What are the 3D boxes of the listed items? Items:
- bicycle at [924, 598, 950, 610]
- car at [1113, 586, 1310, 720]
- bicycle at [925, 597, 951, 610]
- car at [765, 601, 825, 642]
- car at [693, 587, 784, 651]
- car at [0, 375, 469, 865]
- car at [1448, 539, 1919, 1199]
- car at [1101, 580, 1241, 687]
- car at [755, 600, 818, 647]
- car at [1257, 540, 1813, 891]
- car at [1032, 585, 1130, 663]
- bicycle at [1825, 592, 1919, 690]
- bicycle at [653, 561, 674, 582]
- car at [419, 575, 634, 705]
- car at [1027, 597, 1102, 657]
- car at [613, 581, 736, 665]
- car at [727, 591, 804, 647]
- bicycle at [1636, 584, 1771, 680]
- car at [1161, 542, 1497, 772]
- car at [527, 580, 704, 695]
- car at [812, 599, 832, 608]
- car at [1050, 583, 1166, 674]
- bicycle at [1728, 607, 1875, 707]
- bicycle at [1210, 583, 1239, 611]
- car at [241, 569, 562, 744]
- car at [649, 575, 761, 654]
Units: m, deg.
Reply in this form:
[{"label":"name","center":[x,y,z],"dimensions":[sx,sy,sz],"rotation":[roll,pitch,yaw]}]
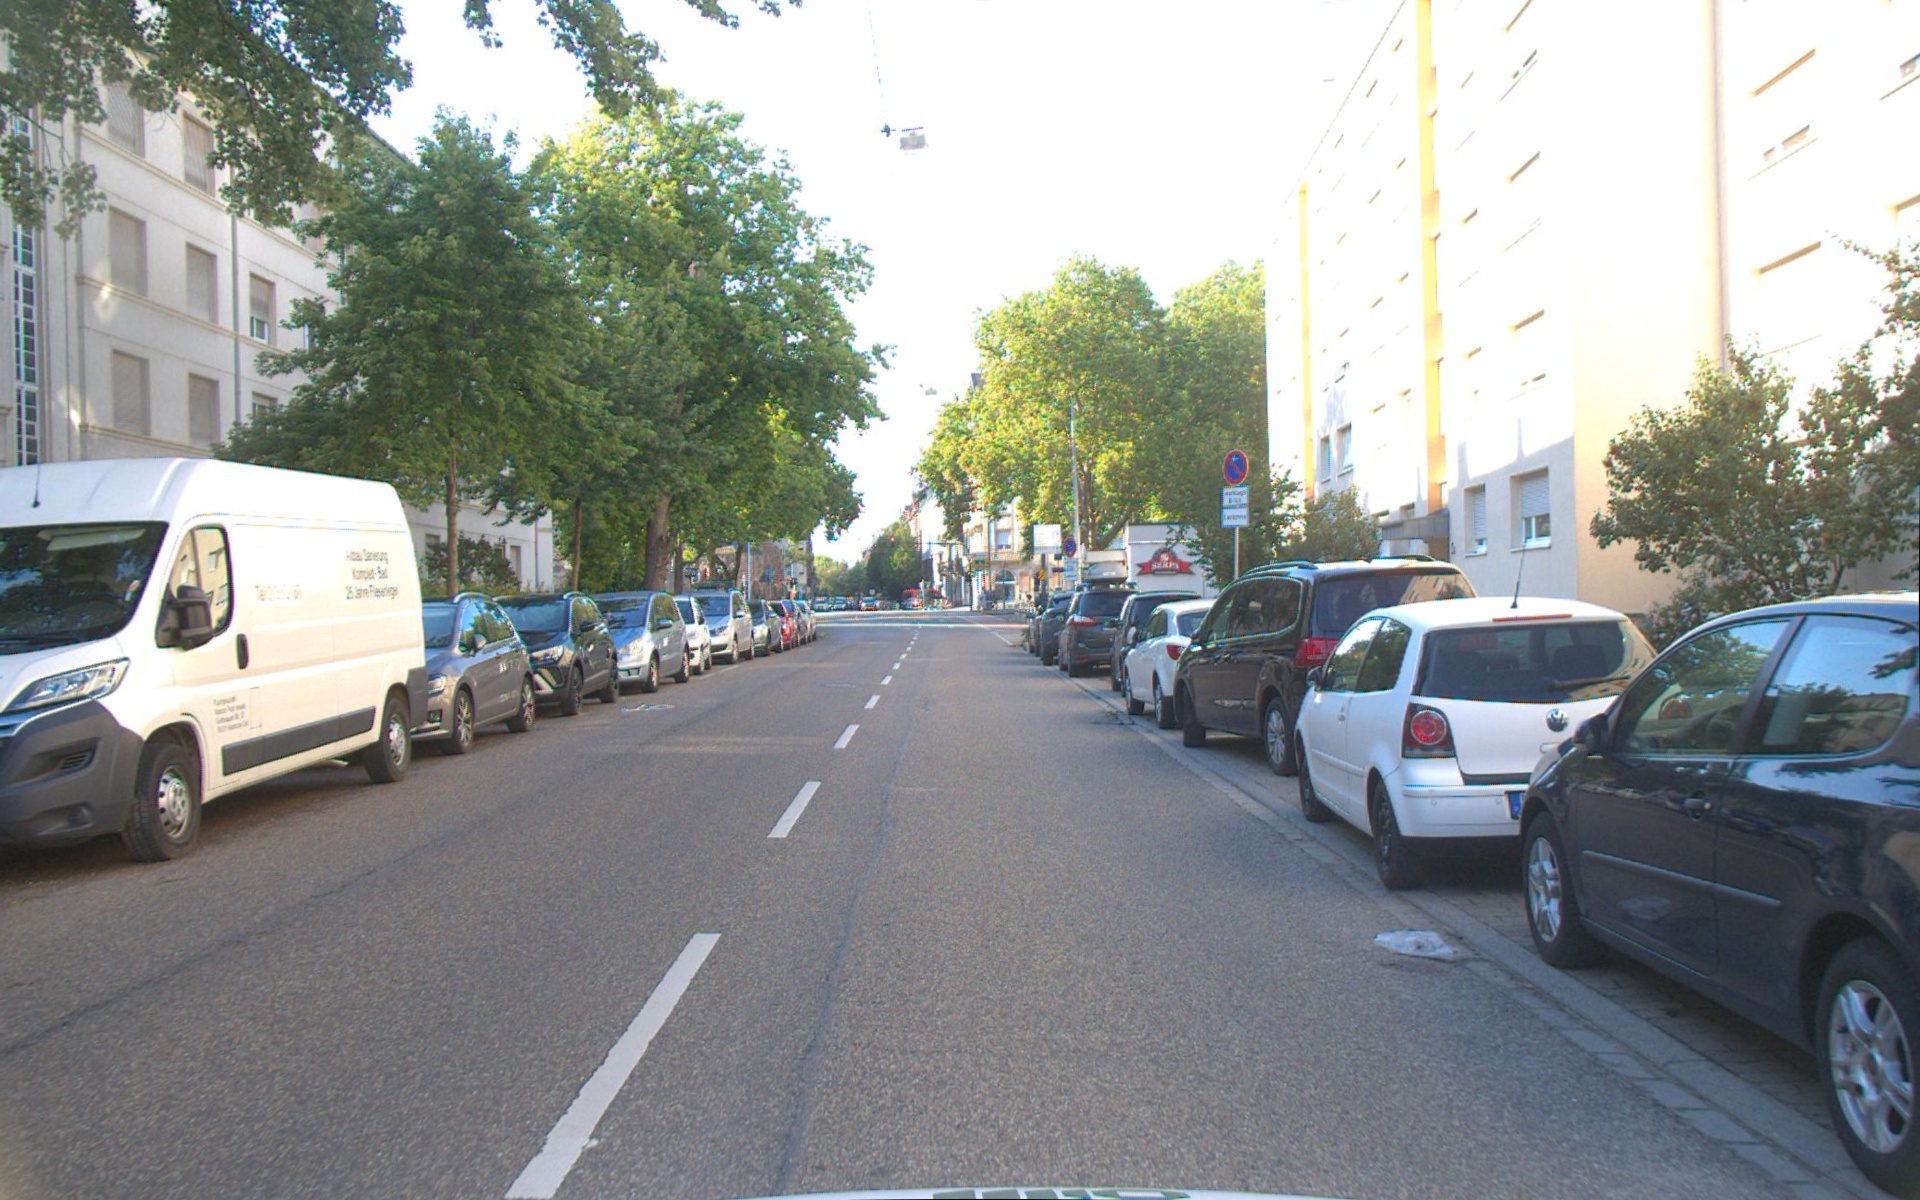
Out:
[{"label":"bicycle","center":[-2.481,0.387,178.170],"dimensions":[2.753,1.225,0.515],"rotation":[1,-1,-11]},{"label":"car","center":[2.969,0.618,20.418],"dimensions":[1.645,1.440,4.723],"rotation":[1,-1,-1]},{"label":"bicycle","center":[-2.364,0.376,176.608],"dimensions":[2.750,1.225,0.509],"rotation":[1,-1,-7]},{"label":"car","center":[-5.910,0.794,59.790],"dimensions":[1.733,1.376,4.709],"rotation":[1,-1,-1]},{"label":"car","center":[-5.844,0.526,44.110],"dimensions":[1.832,1.586,4.496],"rotation":[1,-1,-1]},{"label":"car","center":[-5.640,0.249,11.662],"dimensions":[2.311,2.487,6.163],"rotation":[-6,-1,0]},{"label":"car","center":[3.128,0.742,5.383],"dimensions":[1.800,1.803,3.977],"rotation":[-3,-1,0]},{"label":"car","center":[3.195,0.515,25.686],"dimensions":[1.573,1.520,4.041],"rotation":[0,-1,-1]},{"label":"car","center":[-5.664,0.772,54.418],"dimensions":[1.669,1.465,4.128],"rotation":[1,-1,-1]},{"label":"car","center":[3.060,0.576,9.821],"dimensions":[1.800,1.527,4.172],"rotation":[-4,-1,1]},{"label":"car","center":[2.788,0.573,38.981],"dimensions":[1.888,1.688,4.676],"rotation":[1,-1,-1]},{"label":"bicycle","center":[11.586,0.480,20.379],"dimensions":[0.588,1.100,2.393],"rotation":[-1,1,0]},{"label":"bicycle","center":[-17.864,-1.691,99.727],"dimensions":[0.703,1.166,3.291],"rotation":[1,-1,-1]},{"label":"car","center":[-5.844,0.540,22.833],"dimensions":[1.832,1.586,4.364],"rotation":[1,-1,-1]},{"label":"car","center":[2.765,0.734,44.569],"dimensions":[1.705,1.499,3.999],"rotation":[1,-1,-1]},{"label":"car","center":[-5.793,0.482,34.017],"dimensions":[1.832,1.586,4.100],"rotation":[1,-1,-1]},{"label":"car","center":[-5.750,0.575,49.262],"dimensions":[1.832,1.586,3.999],"rotation":[1,-1,-1]},{"label":"bicycle","center":[9.345,0.374,20.893],"dimensions":[0.588,1.100,2.393],"rotation":[-1,1,0]},{"label":"car","center":[3.168,0.485,15.297],"dimensions":[1.983,1.780,4.765],"rotation":[-1,-1,-1]},{"label":"car","center":[-5.620,0.554,27.646],"dimensions":[1.833,1.585,5.056],"rotation":[-5,0,-1]},{"label":"car","center":[-17.600,0.447,211.538],"dimensions":[1.560,1.164,3.386],"rotation":[1,-1,14]},{"label":"car","center":[2.888,0.534,33.086],"dimensions":[1.859,1.680,4.342],"rotation":[-1,0,-1]},{"label":"bicycle","center":[10.462,0.681,20.653],"dimensions":[0.588,1.100,2.393],"rotation":[-1,1,0]},{"label":"bicycle","center":[9.329,-0.114,58.372],"dimensions":[0.623,0.941,2.230],"rotation":[1,1,-1]},{"label":"car","center":[-5.684,0.560,17.468],"dimensions":[1.917,1.586,4.345],"rotation":[1,-1,-1]},{"label":"car","center":[-5.919,0.359,38.899],"dimensions":[1.877,1.707,4.973],"rotation":[1,-1,-1]}]
